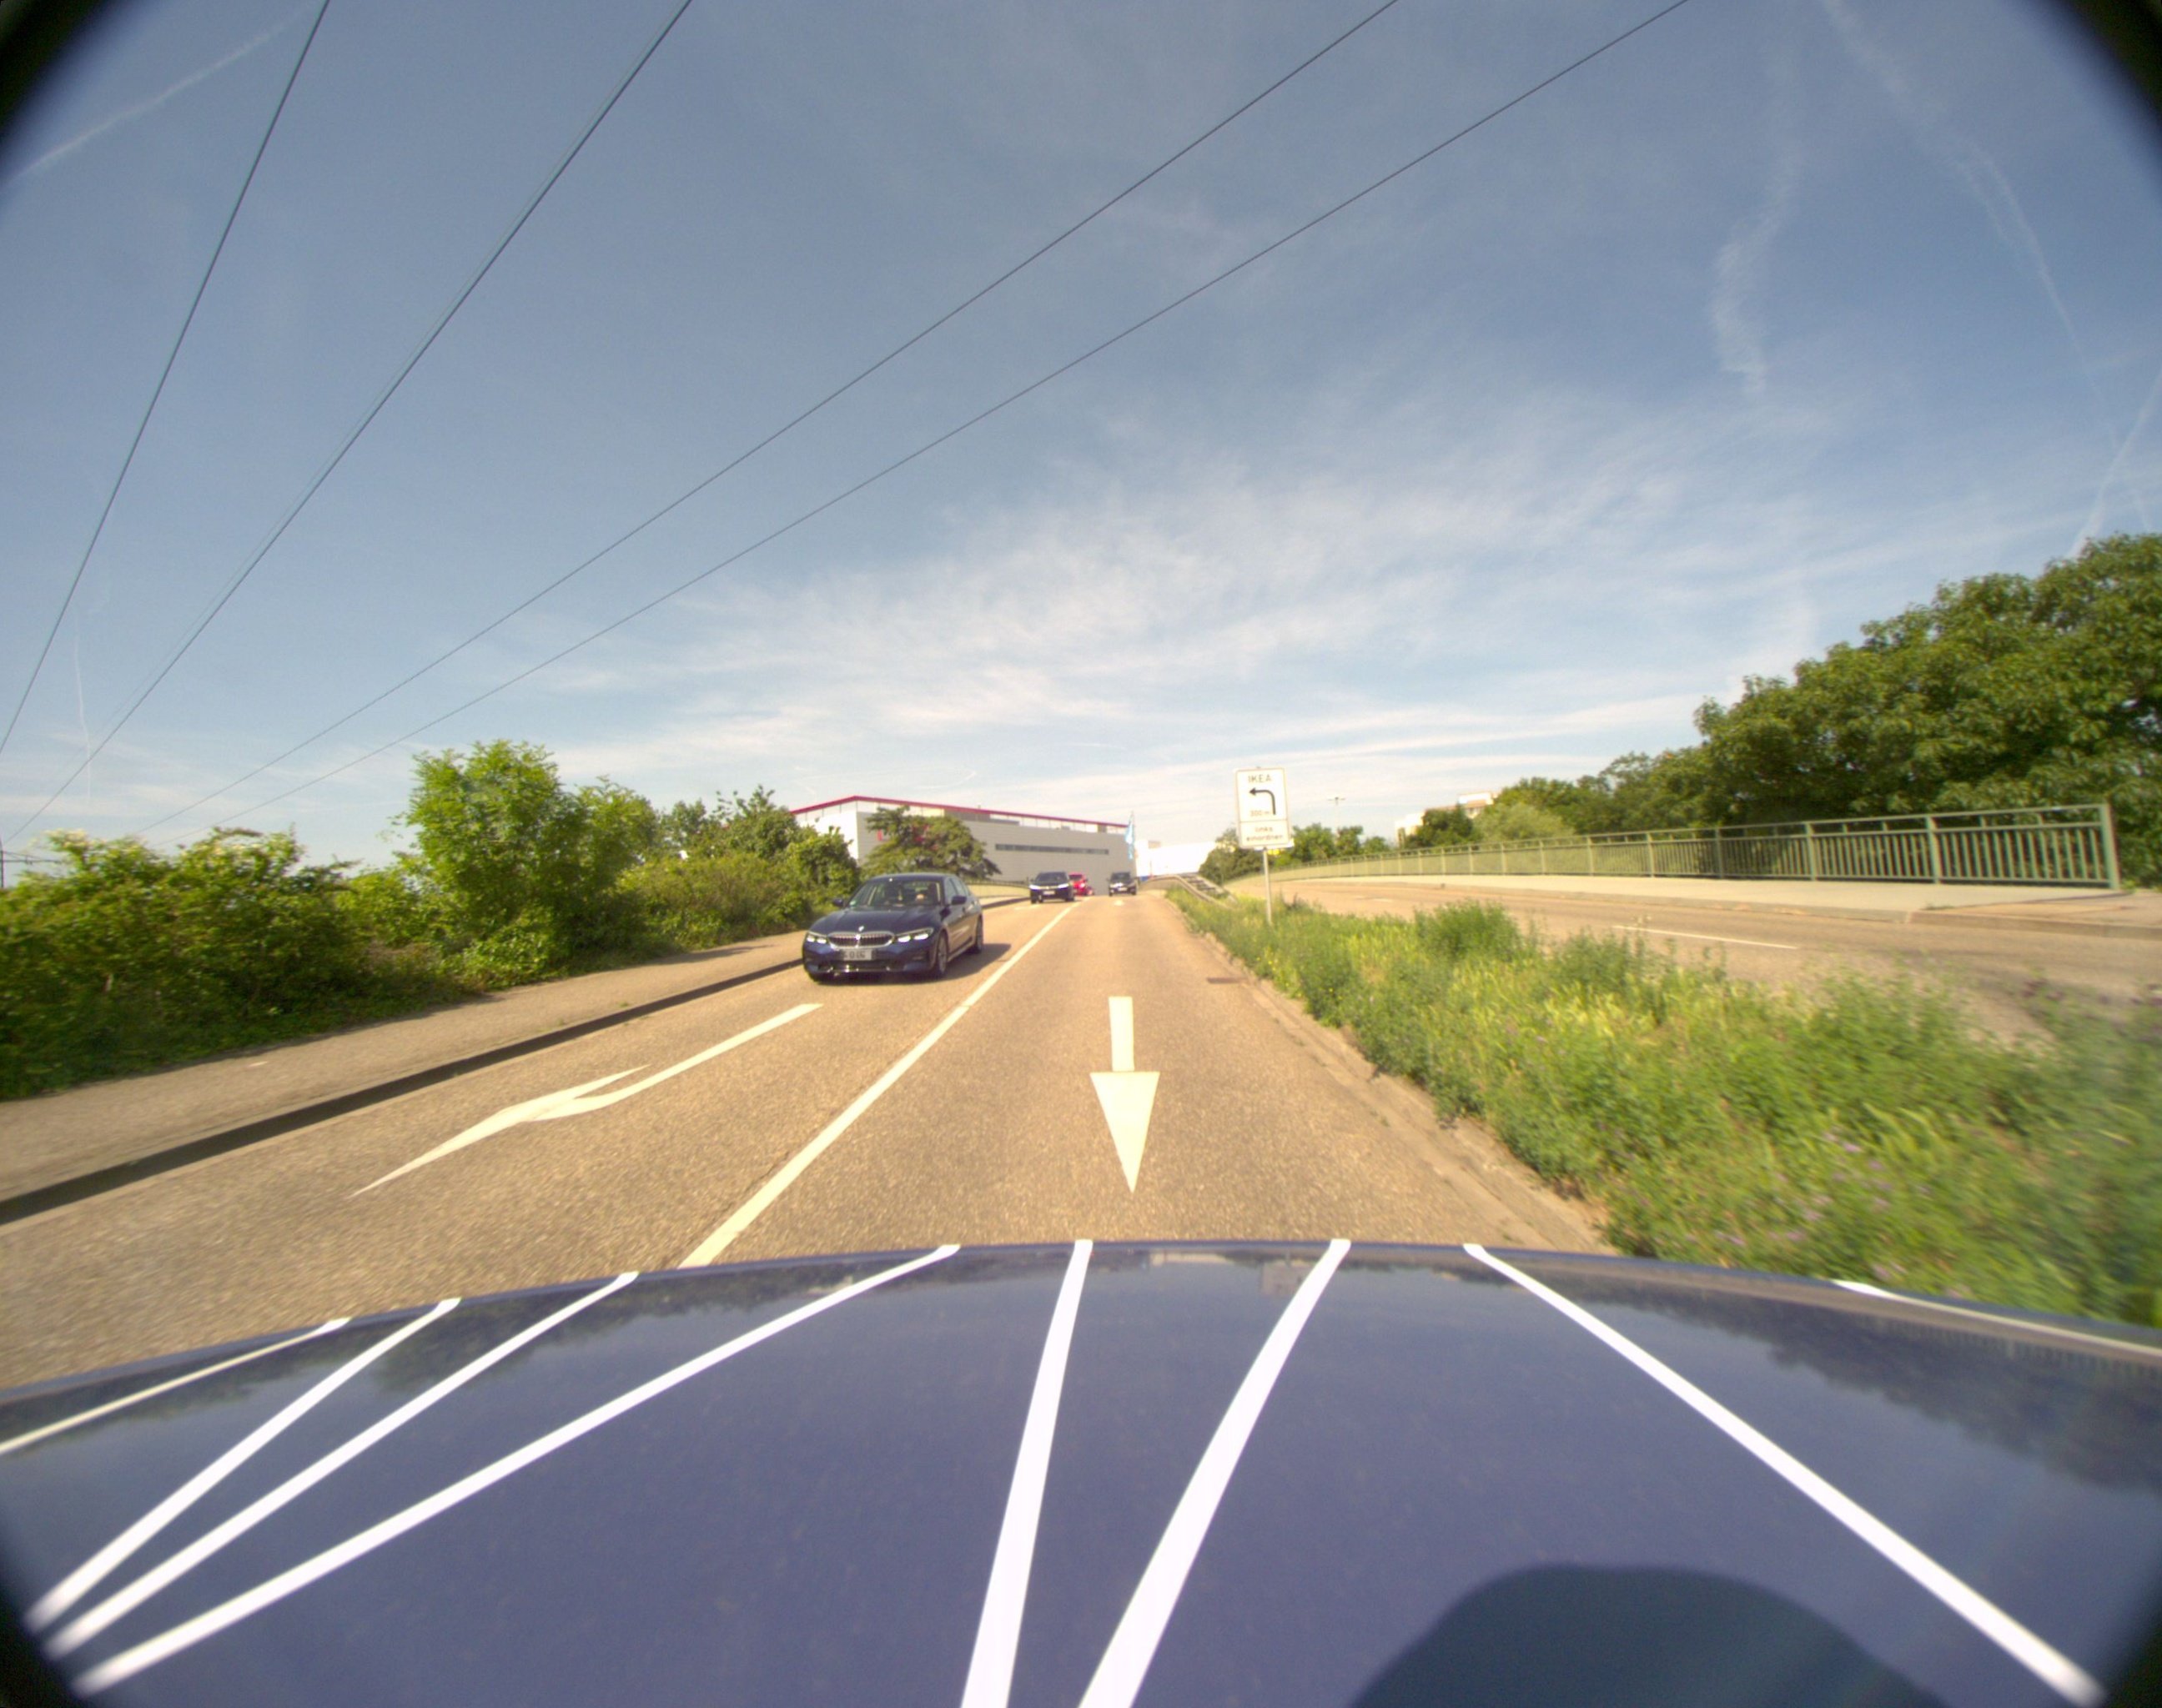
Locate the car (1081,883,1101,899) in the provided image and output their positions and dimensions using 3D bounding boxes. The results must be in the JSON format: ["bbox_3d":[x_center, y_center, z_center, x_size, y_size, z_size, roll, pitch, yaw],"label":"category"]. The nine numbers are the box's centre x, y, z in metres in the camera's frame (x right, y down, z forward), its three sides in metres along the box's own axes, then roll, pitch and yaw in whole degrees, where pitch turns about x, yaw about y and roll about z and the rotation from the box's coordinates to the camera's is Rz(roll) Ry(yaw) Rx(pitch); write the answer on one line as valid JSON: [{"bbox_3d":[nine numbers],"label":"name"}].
[{"bbox_3d":[1.139,4.008,82.261,1.776,1.647,4.149,-2,-4,6],"label":"car"}]

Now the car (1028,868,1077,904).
[{"bbox_3d":[-1.307,1.485,36.391,1.860,1.520,4.146,-4,-1,3],"label":"car"}]

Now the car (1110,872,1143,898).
[{"bbox_3d":[2.749,1.862,46.487,1.849,1.409,4.002,-2,-1,2],"label":"car"}]

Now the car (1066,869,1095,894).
[{"bbox_3d":[-0.006,2.319,62.590,1.987,1.894,4.148,-4,-3,4],"label":"car"}]

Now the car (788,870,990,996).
[{"bbox_3d":[-2.705,1.117,11.872,1.791,1.474,4.523,-4,-3,2],"label":"car"}]
